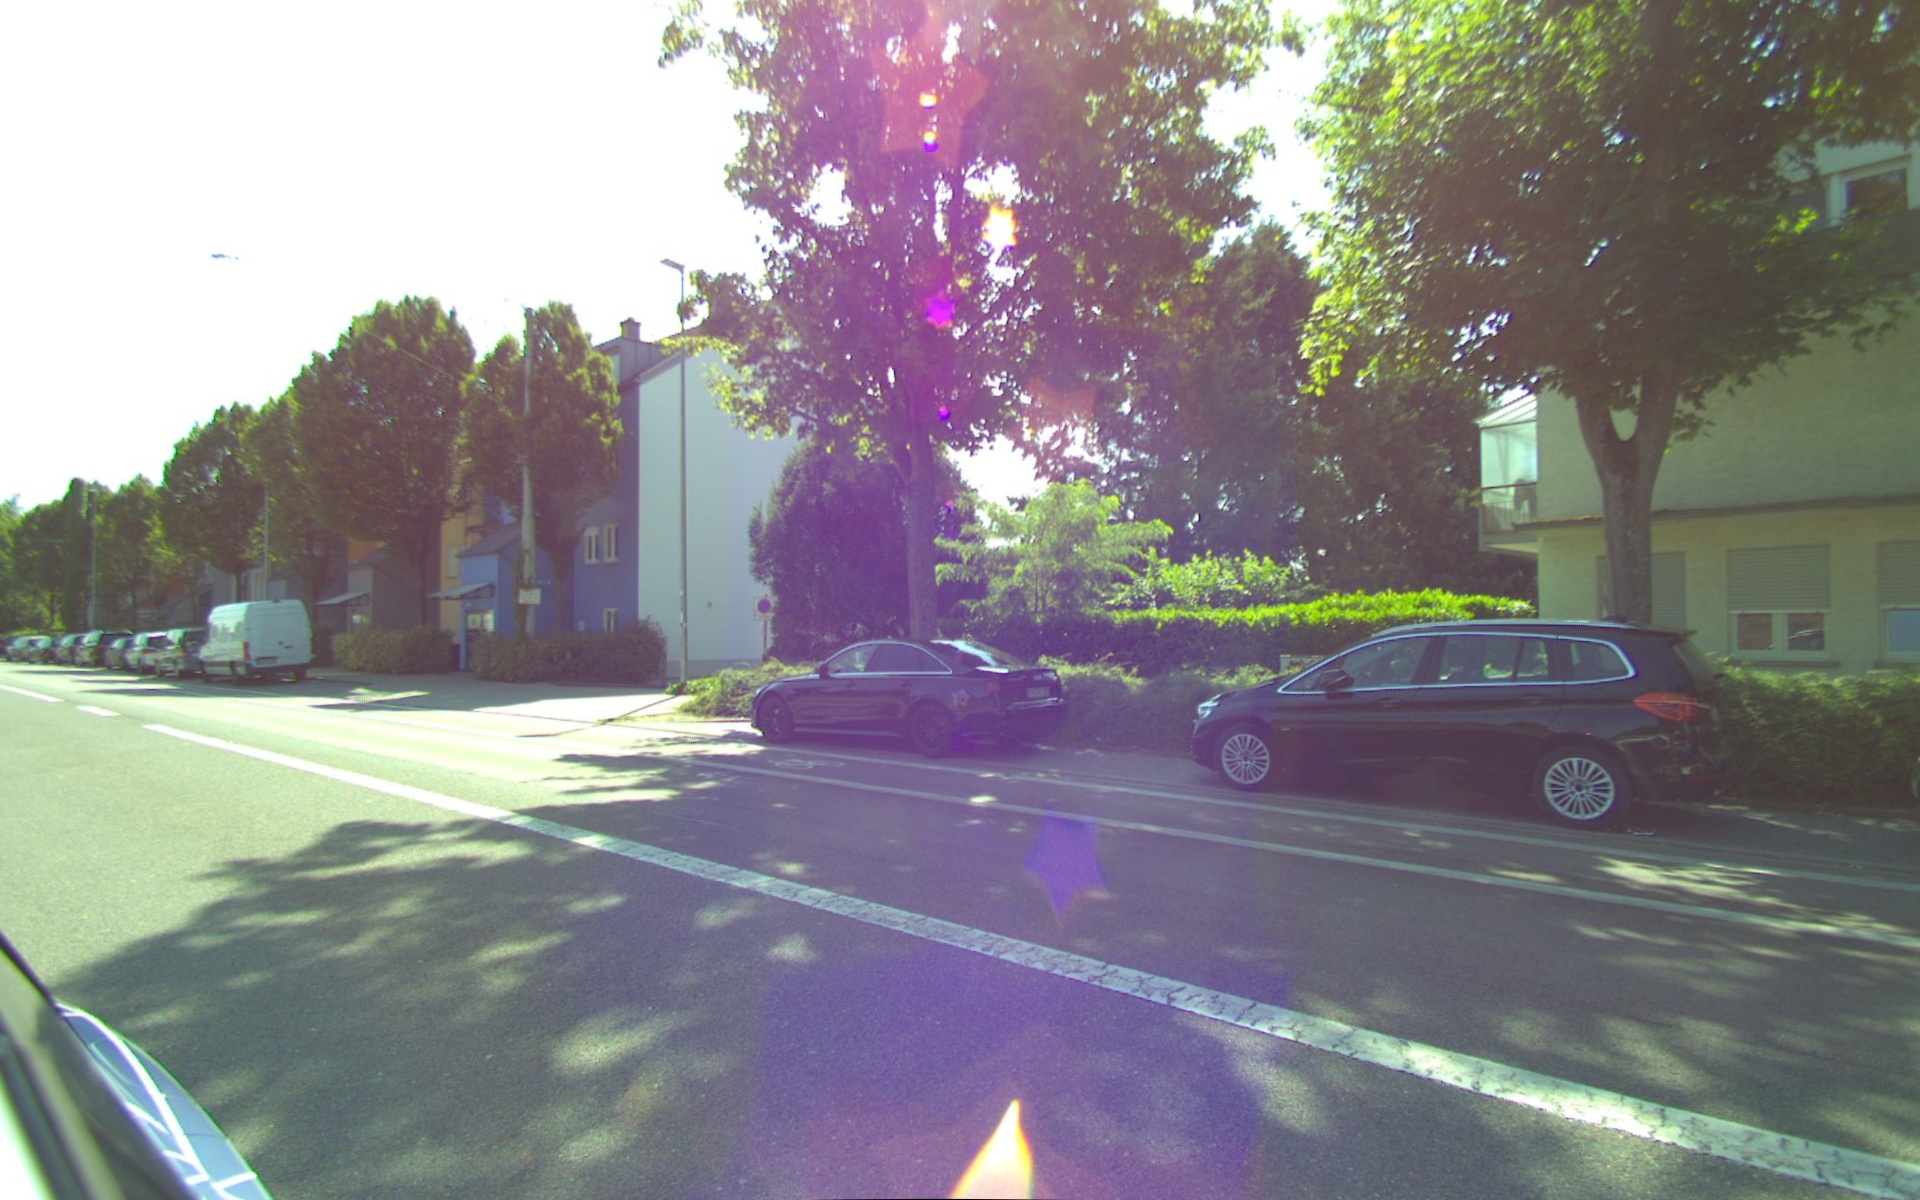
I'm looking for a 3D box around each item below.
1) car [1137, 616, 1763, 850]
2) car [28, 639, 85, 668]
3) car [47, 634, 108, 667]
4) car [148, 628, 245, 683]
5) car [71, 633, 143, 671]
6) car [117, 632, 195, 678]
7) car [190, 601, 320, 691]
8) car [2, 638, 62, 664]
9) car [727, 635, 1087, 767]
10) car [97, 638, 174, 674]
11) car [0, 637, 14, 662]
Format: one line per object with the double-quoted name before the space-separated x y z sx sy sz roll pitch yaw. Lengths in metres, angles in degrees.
"car" 4.215 0.995 9.326 4.891 1.618 1.743 -2 -2 41
"car" -50.891 2.974 56.954 4.207 1.481 1.661 -1 -1 38
"car" -46.337 2.635 53.130 4.159 1.619 1.661 -1 -1 38
"car" -29.859 2.135 39.515 4.964 1.879 1.973 -2 2 41
"car" -41.981 2.527 49.779 4.343 1.741 1.812 -1 0 38
"car" -34.364 2.317 43.226 4.539 1.715 1.829 -1 1 42
"car" -23.911 1.505 34.190 7.084 2.697 1.972 -2 1 42
"car" -56.162 3.074 61.215 4.826 1.457 1.662 -1 -1 35
"car" -0.861 1.228 13.693 4.903 1.477 1.822 -2 -2 38
"car" -38.132 2.540 46.780 4.070 1.466 1.849 -1 1 38
"car" -65.568 3.346 68.020 4.920 1.588 1.889 -1 -1 35
